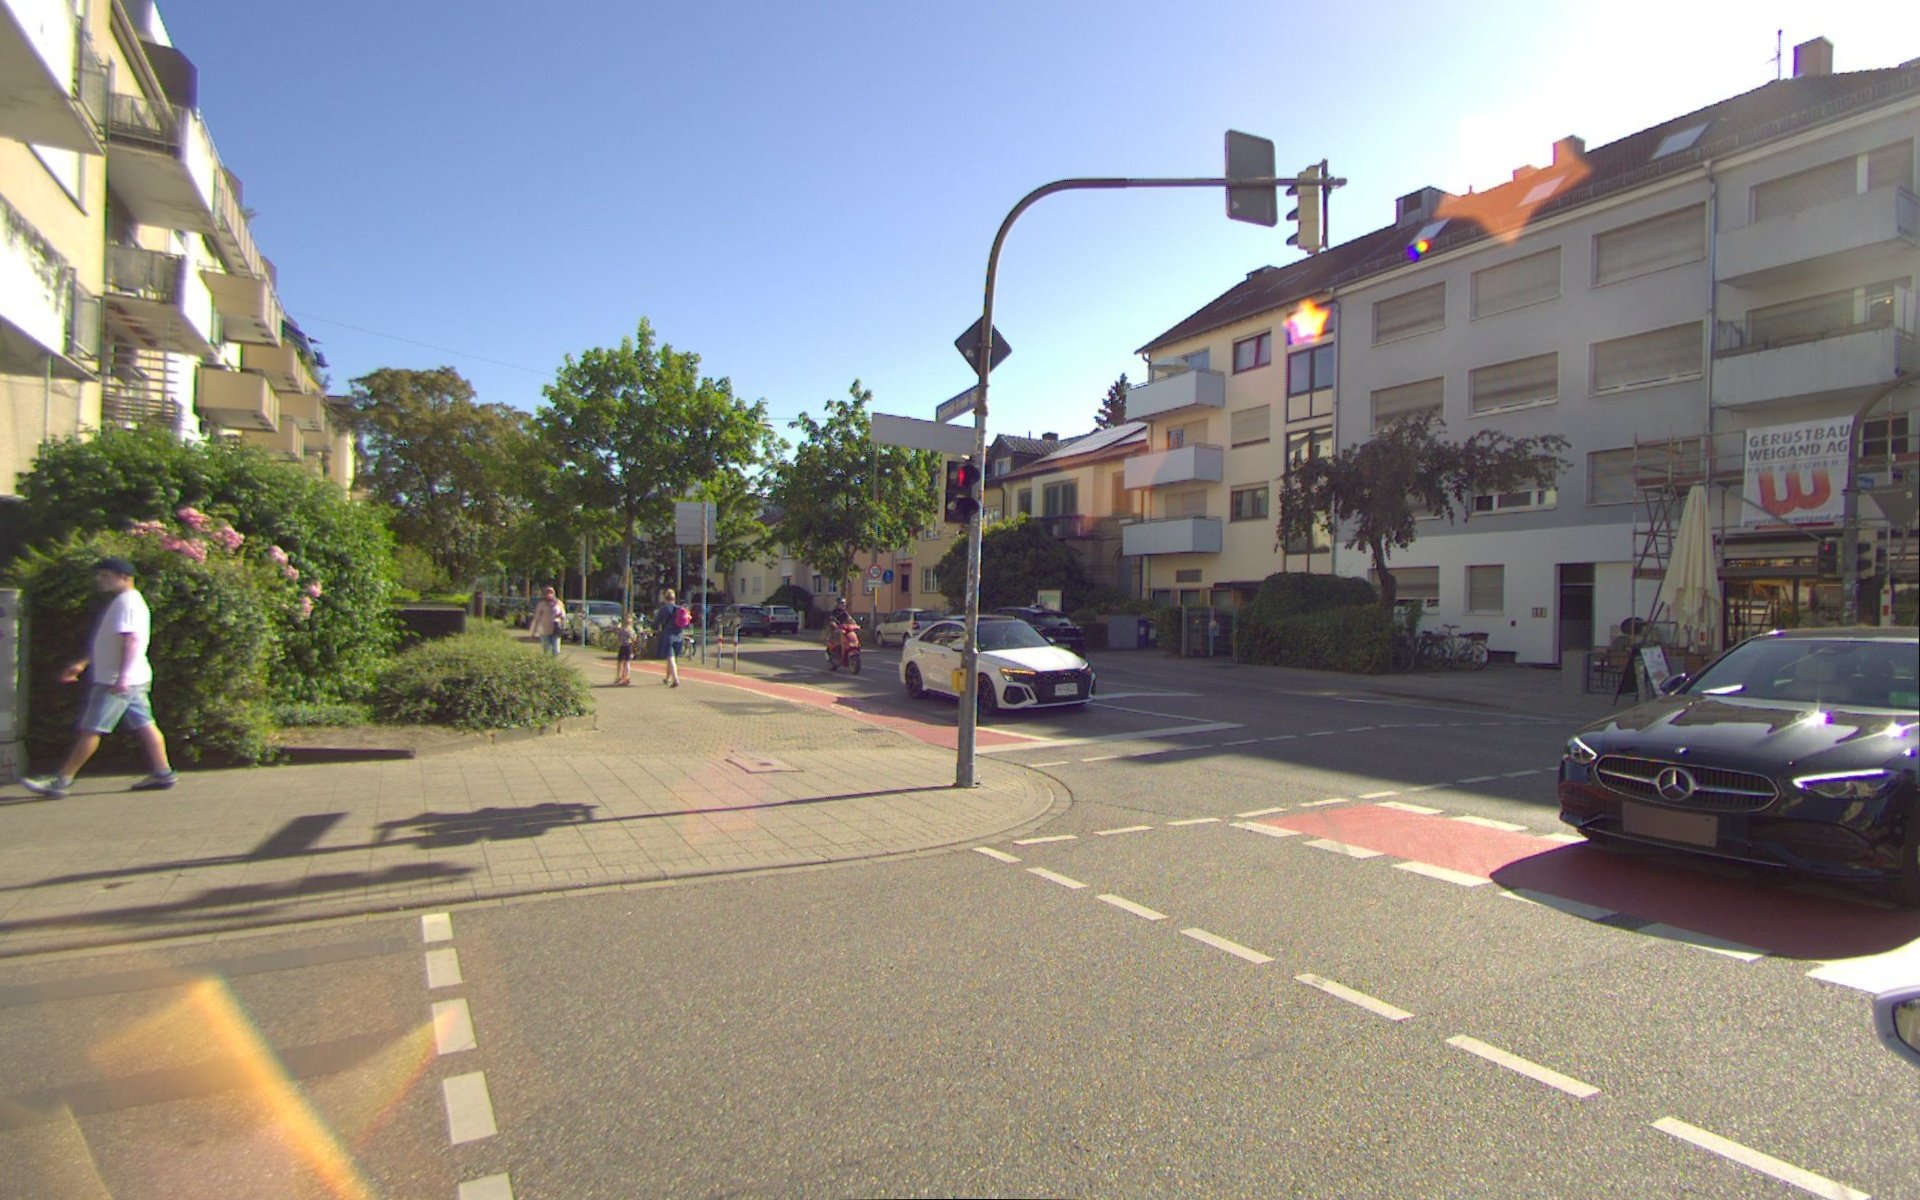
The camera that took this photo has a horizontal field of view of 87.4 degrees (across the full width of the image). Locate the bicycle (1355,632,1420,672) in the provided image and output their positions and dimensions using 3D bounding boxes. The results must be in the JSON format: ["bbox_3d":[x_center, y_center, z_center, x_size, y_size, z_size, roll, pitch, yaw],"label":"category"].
[{"bbox_3d":[10.872,1.303,25.580,0.506,0.952,1.583,1,-1,-27],"label":"bicycle"}]

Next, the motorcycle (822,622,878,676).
[{"bbox_3d":[-2.516,1.094,22.910,0.739,1.149,1.672,-1,0,-26],"label":"motorcycle"}]

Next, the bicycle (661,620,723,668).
[{"bbox_3d":[-7.179,1.179,26.951,1.550,1.177,0.447,1,14,-7],"label":"bicycle"}]

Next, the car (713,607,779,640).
[{"bbox_3d":[-10.120,1.069,47.275,1.822,1.453,4.142,1,-1,-30],"label":"car"}]

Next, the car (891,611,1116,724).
[{"bbox_3d":[0.564,1.003,16.752,1.909,1.455,4.238,-3,2,-27],"label":"car"}]

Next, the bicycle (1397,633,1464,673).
[{"bbox_3d":[11.908,1.330,25.458,0.506,0.952,1.583,1,-1,-27],"label":"bicycle"}]

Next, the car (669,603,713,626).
[{"bbox_3d":[-17.904,0.950,66.791,1.893,1.449,3.969,-1,1,-29],"label":"car"}]

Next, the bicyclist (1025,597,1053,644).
[{"bbox_3d":[2.684,0.684,34.278,0.548,1.569,0.808,1,0,-30],"label":"bicyclist"}]

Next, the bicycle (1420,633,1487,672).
[{"bbox_3d":[12.981,1.366,26.454,0.506,0.952,1.583,1,-1,-27],"label":"bicycle"}]

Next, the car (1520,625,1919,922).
[{"bbox_3d":[5.940,0.909,6.734,4.372,1.431,1.797,1,-2,-29],"label":"car"}]

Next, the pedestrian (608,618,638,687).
[{"bbox_3d":[-5.849,0.898,17.414,0.382,1.161,0.527,1,0,-31],"label":"pedestrian"}]

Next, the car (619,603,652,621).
[{"bbox_3d":[-27.916,1.021,86.366,1.893,1.449,3.969,-1,1,-29],"label":"car"}]

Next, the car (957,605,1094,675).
[{"bbox_3d":[1.530,0.963,25.125,1.577,1.586,4.061,2,-2,-27],"label":"car"}]

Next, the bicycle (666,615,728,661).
[{"bbox_3d":[-7.191,1.039,27.515,1.550,1.177,0.447,1,14,-7],"label":"bicycle"}]

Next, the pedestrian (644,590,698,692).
[{"bbox_3d":[-5.025,0.692,17.463,0.570,1.705,0.958,1,0,-38],"label":"pedestrian"}]

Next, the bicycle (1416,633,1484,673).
[{"bbox_3d":[12.569,1.352,25.797,0.506,0.952,1.583,1,-1,-27],"label":"bicycle"}]

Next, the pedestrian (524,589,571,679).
[{"bbox_3d":[-7.559,0.614,18.381,0.688,1.617,0.642,1,0,-31],"label":"pedestrian"}]

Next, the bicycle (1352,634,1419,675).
[{"bbox_3d":[10.551,1.330,24.975,0.506,0.952,1.583,1,-1,-27],"label":"bicycle"}]

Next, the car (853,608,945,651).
[{"bbox_3d":[-2.326,1.054,37.441,1.893,1.449,3.969,-1,1,-29],"label":"car"}]

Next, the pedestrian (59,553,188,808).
[{"bbox_3d":[-5.962,0.546,7.191,0.664,1.711,0.568,1,0,-39],"label":"pedestrian"}]

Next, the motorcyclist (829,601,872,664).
[{"bbox_3d":[-2.488,0.722,22.841,0.747,1.374,0.787,-1,1,-26],"label":"motorcyclist"}]

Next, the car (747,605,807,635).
[{"bbox_3d":[-9.551,1.023,52.144,1.893,1.449,3.969,-1,1,-29],"label":"car"}]

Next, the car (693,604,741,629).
[{"bbox_3d":[-15.298,0.987,63.026,1.893,1.449,3.969,-1,1,-29],"label":"car"}]

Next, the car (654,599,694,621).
[{"bbox_3d":[-20.680,0.707,72.598,1.893,1.449,3.969,-1,1,-29],"label":"car"}]
